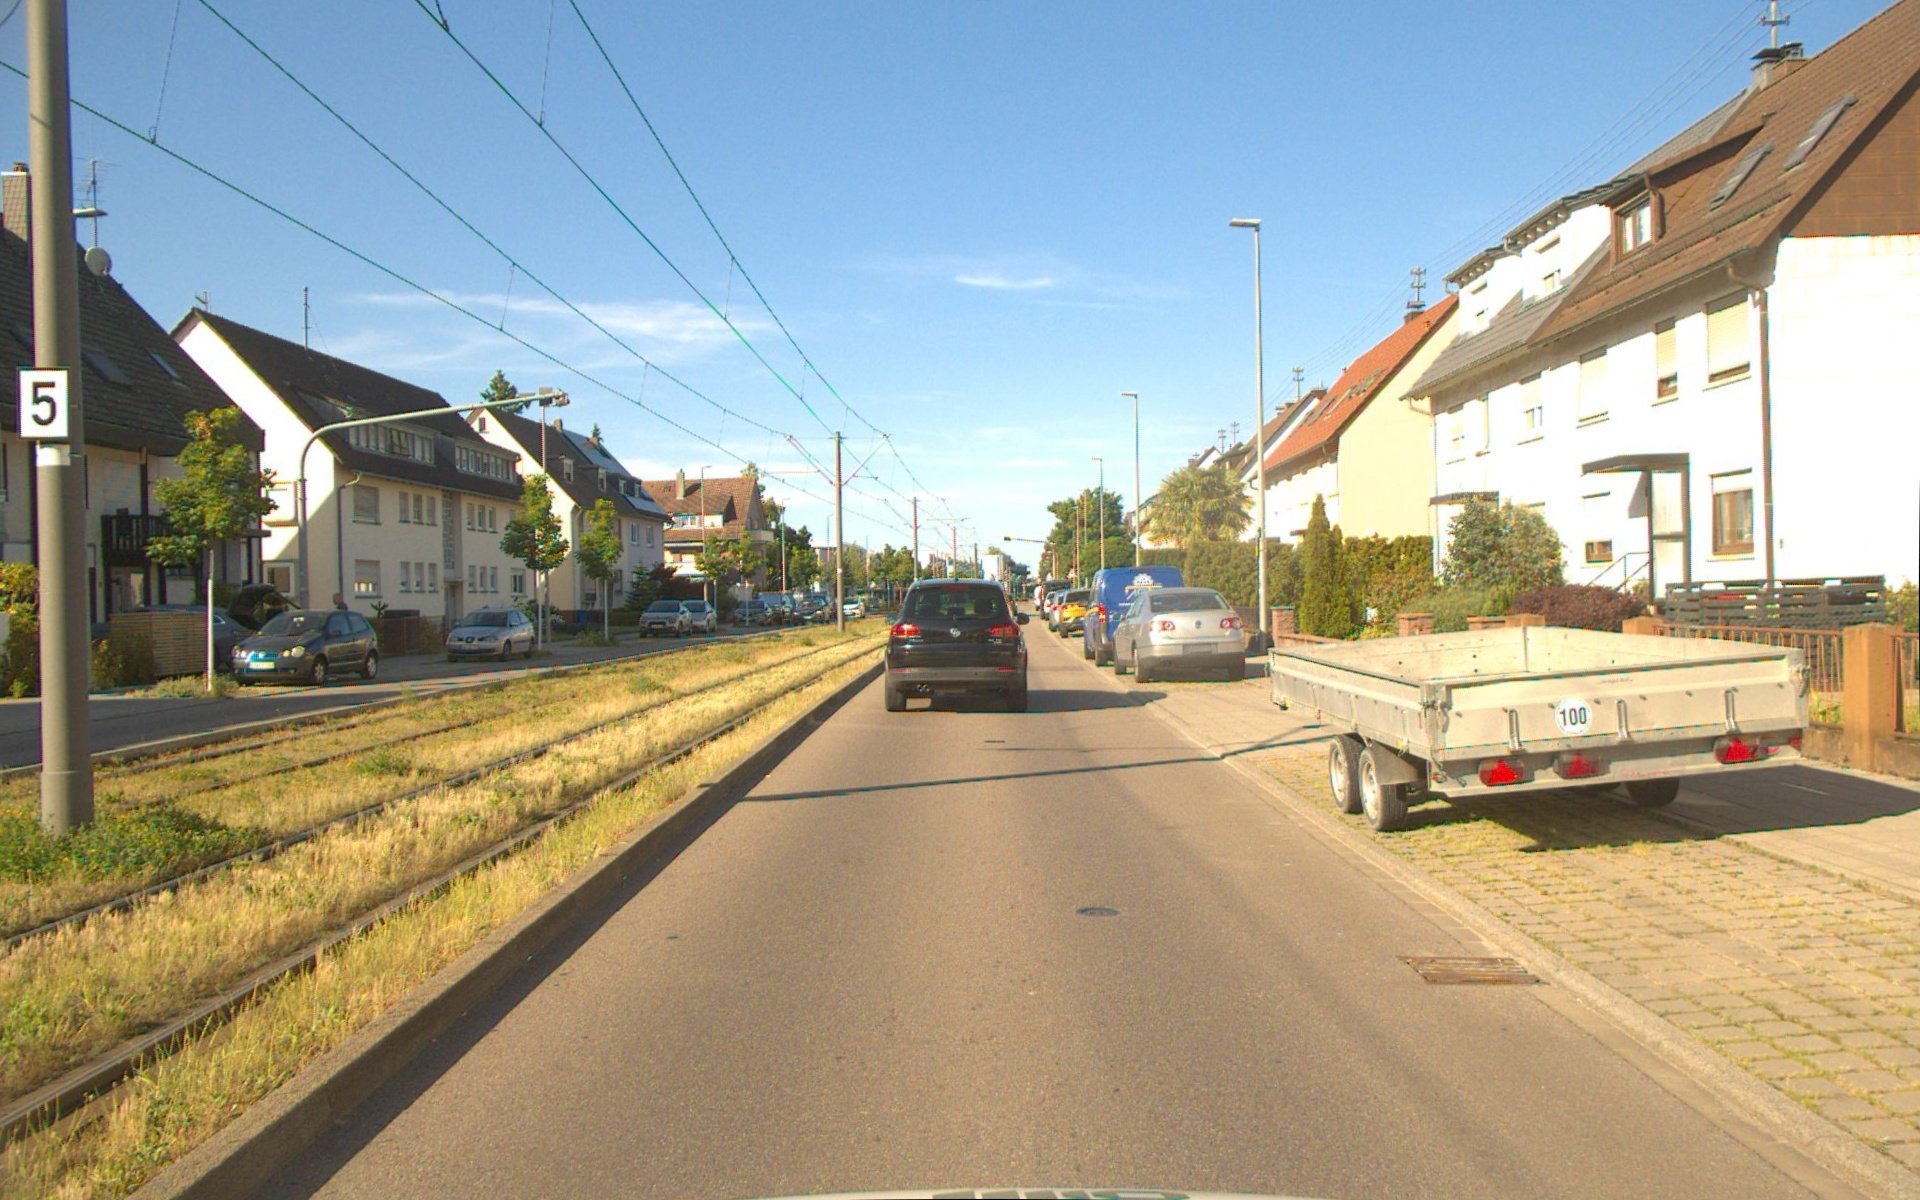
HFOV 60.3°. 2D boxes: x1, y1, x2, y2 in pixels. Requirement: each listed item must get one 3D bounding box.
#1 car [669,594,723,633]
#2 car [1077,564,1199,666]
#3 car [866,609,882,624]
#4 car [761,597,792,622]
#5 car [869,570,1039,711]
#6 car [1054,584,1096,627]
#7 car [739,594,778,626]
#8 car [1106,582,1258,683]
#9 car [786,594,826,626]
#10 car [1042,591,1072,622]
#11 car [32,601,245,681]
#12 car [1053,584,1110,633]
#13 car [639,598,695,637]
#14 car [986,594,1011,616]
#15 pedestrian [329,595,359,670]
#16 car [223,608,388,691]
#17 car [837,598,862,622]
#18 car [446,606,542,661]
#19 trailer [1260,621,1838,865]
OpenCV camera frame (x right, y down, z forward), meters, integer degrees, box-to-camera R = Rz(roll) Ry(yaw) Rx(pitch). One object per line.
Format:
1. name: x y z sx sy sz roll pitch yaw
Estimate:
1. car: -12.001 0.604 75.470 1.766 1.660 4.000 -2 0 0
2. car: 3.565 0.279 34.049 1.953 1.894 4.917 -2 0 0
3. car: -9.032 1.706 173.327 1.435 1.479 3.216 -2 -1 0
4. car: -10.792 0.557 97.426 1.484 1.385 3.589 -2 0 -1
5. car: -0.182 0.502 22.125 1.777 1.700 4.250 0 0 -7
6. car: 4.384 0.195 63.414 1.421 1.579 3.830 -1 0 1
7. car: -11.123 0.566 91.506 1.626 1.609 3.999 -2 -2 0
8. car: 3.612 0.491 27.676 1.750 1.466 4.458 -3 0 -2
9. car: -8.772 0.588 94.586 1.835 1.684 3.999 -2 -2 0
10. car: 5.021 0.311 85.867 1.412 1.503 3.865 -2 0 1
11. car: -18.145 0.892 36.676 3.828 1.595 1.732 -2 0 -7
12. car: 4.103 0.295 56.223 1.611 1.561 3.864 -1 0 0
13. car: -12.247 0.698 69.310 1.625 1.523 3.579 -2 0 0
14. car: 2.577 0.305 110.677 1.540 1.415 3.614 -2 0 0
15. pedestrian: -14.788 0.778 39.713 0.459 1.776 0.535 -1 0 -1
16. car: -13.131 0.959 33.418 1.584 1.478 3.720 -2 0 5
17. car: -7.299 0.678 109.490 1.435 1.479 3.287 -2 -1 0
18. car: -12.954 0.939 46.168 1.585 1.433 3.717 -2 -2 0
19. trailer: 3.513 0.782 10.920 2.159 1.113 4.371 -3 0 -1
